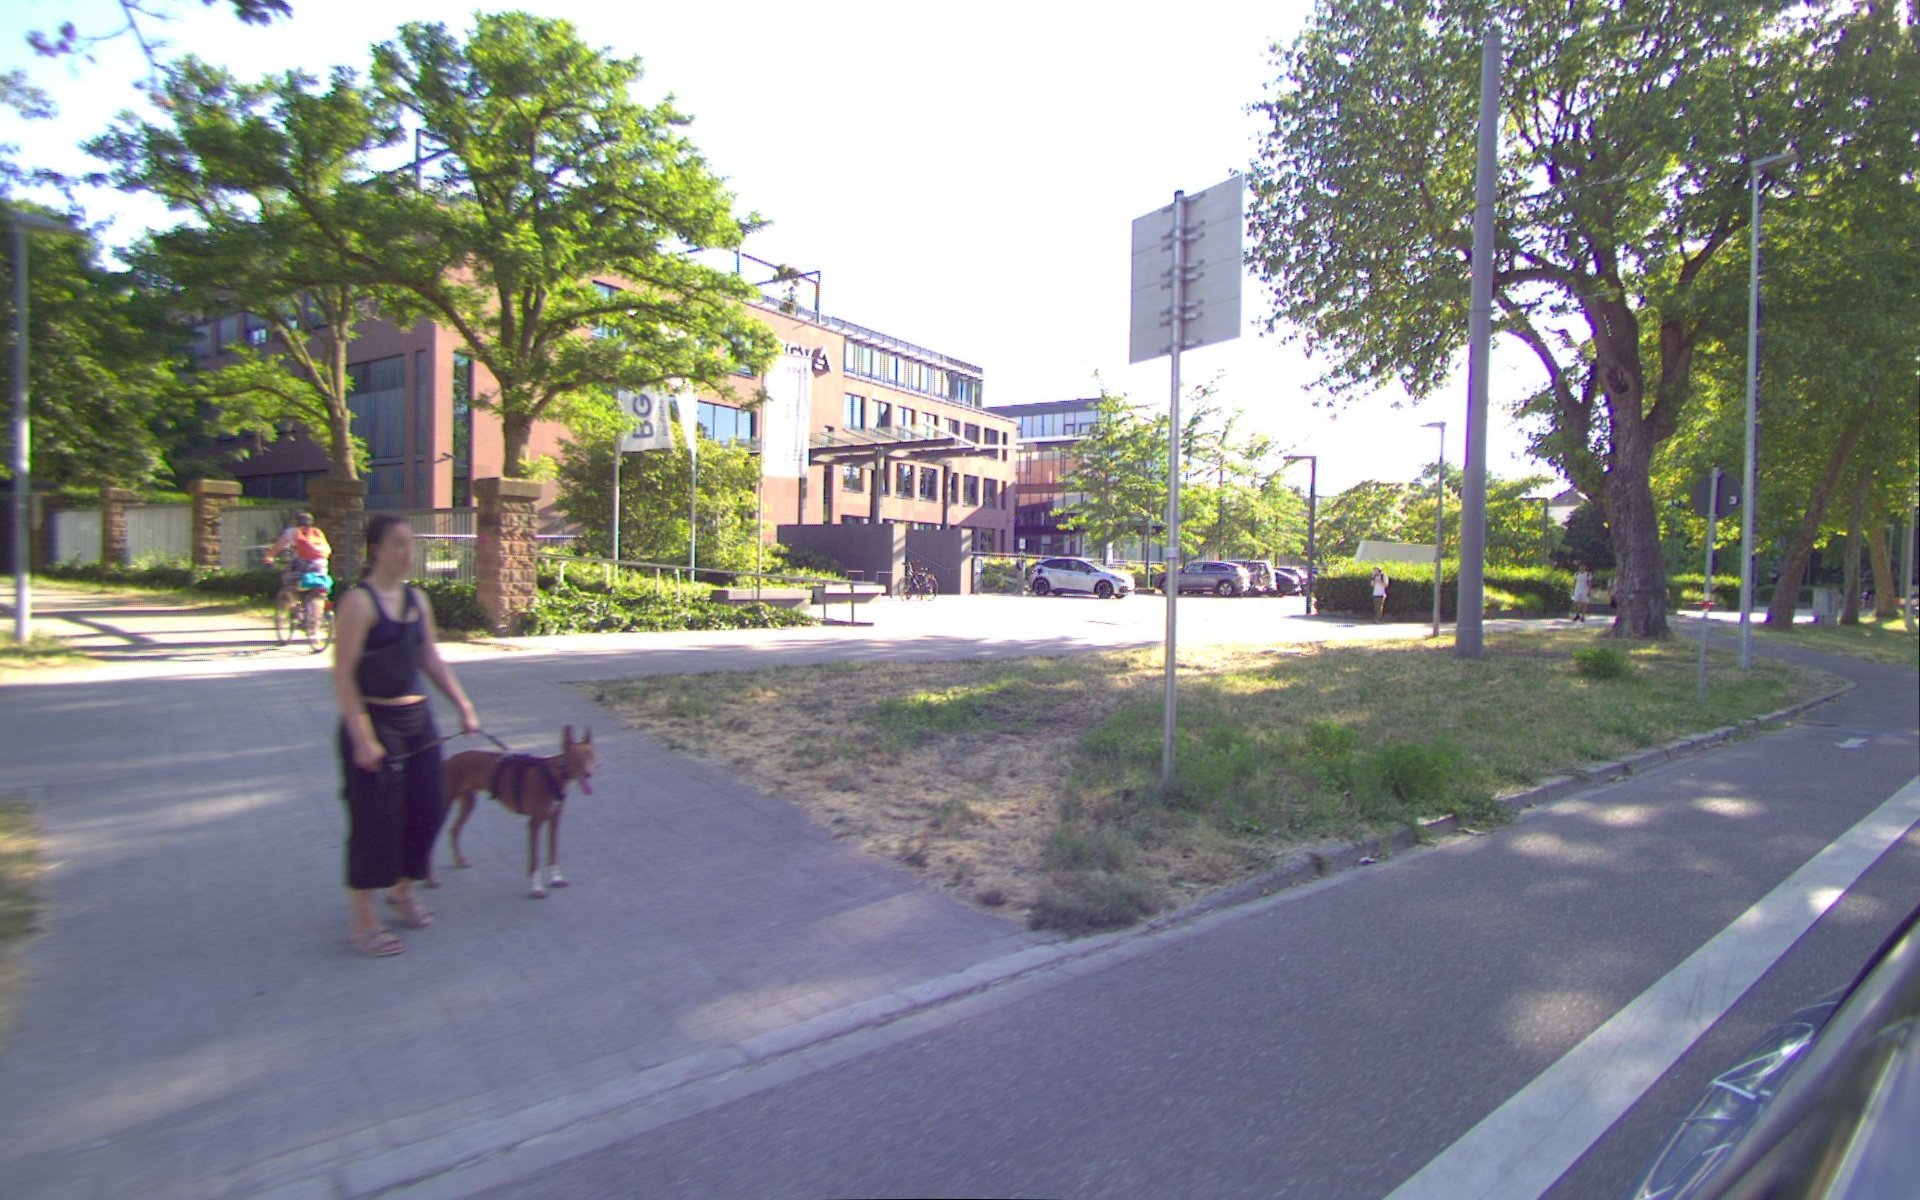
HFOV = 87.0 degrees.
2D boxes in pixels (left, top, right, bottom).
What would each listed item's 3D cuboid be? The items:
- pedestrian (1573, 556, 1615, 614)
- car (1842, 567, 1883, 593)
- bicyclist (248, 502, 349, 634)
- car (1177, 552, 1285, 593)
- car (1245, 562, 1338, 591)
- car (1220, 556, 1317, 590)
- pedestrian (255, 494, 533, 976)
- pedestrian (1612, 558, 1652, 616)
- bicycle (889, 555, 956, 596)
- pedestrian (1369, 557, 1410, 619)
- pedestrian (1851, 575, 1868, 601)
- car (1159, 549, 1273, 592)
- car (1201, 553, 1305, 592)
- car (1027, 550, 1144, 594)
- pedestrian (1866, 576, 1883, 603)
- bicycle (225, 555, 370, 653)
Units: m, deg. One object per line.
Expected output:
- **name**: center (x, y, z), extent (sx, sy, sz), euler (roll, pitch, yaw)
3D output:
- **pedestrian**: center (20.451, -0.480, 32.636), extent (1.090, 1.815, 0.807), euler (0, 3, -41)
- **car**: center (90.363, -1.948, 101.256), extent (6.231, 2.531, 1.998), euler (-1, 0, -38)
- **bicyclist**: center (-7.971, -0.385, 12.199), extent (0.901, 1.515, 0.756), euler (2, 1, 37)
- **car**: center (13.030, -1.349, 48.697), extent (4.648, 1.734, 1.829), euler (4, 2, 30)
- **car**: center (18.566, -1.331, 56.751), extent (4.651, 1.400, 1.952), euler (4, 2, 32)
- **car**: center (16.709, -1.459, 54.939), extent (4.651, 1.617, 2.049), euler (4, 2, 32)
- **pedestrian**: center (-2.239, 0.444, 3.996), extent (0.847, 1.666, 0.662), euler (0, 4, -40)
- **pedestrian**: center (21.797, -0.423, 32.828), extent (1.067, 1.815, 0.752), euler (0, 3, -40)
- **bicycle**: center (-1.127, -0.729, 30.363), extent (1.895, 1.170, 0.823), euler (-1, 3, -41)
- **pedestrian**: center (11.221, -0.322, 26.445), extent (0.769, 1.558, 0.651), euler (0, 3, -40)
- **pedestrian**: center (59.128, -0.768, 66.532), extent (0.769, 1.676, 0.651), euler (0, 3, -40)
- **car**: center (11.540, -1.337, 45.704), extent (4.648, 1.734, 1.829), euler (4, 2, 30)
- **car**: center (14.654, -1.373, 50.697), extent (4.648, 1.734, 1.829), euler (4, 2, 30)
- **car**: center (4.953, -1.105, 40.030), extent (4.140, 1.525, 1.979), euler (4, 2, 30)
- **pedestrian**: center (59.490, -0.682, 65.836), extent (0.727, 1.676, 0.629), euler (0, 3, -40)
- **bicycle**: center (-8.042, 0.011, 12.243), extent (2.254, 1.053, 0.756), euler (3, 2, 37)
